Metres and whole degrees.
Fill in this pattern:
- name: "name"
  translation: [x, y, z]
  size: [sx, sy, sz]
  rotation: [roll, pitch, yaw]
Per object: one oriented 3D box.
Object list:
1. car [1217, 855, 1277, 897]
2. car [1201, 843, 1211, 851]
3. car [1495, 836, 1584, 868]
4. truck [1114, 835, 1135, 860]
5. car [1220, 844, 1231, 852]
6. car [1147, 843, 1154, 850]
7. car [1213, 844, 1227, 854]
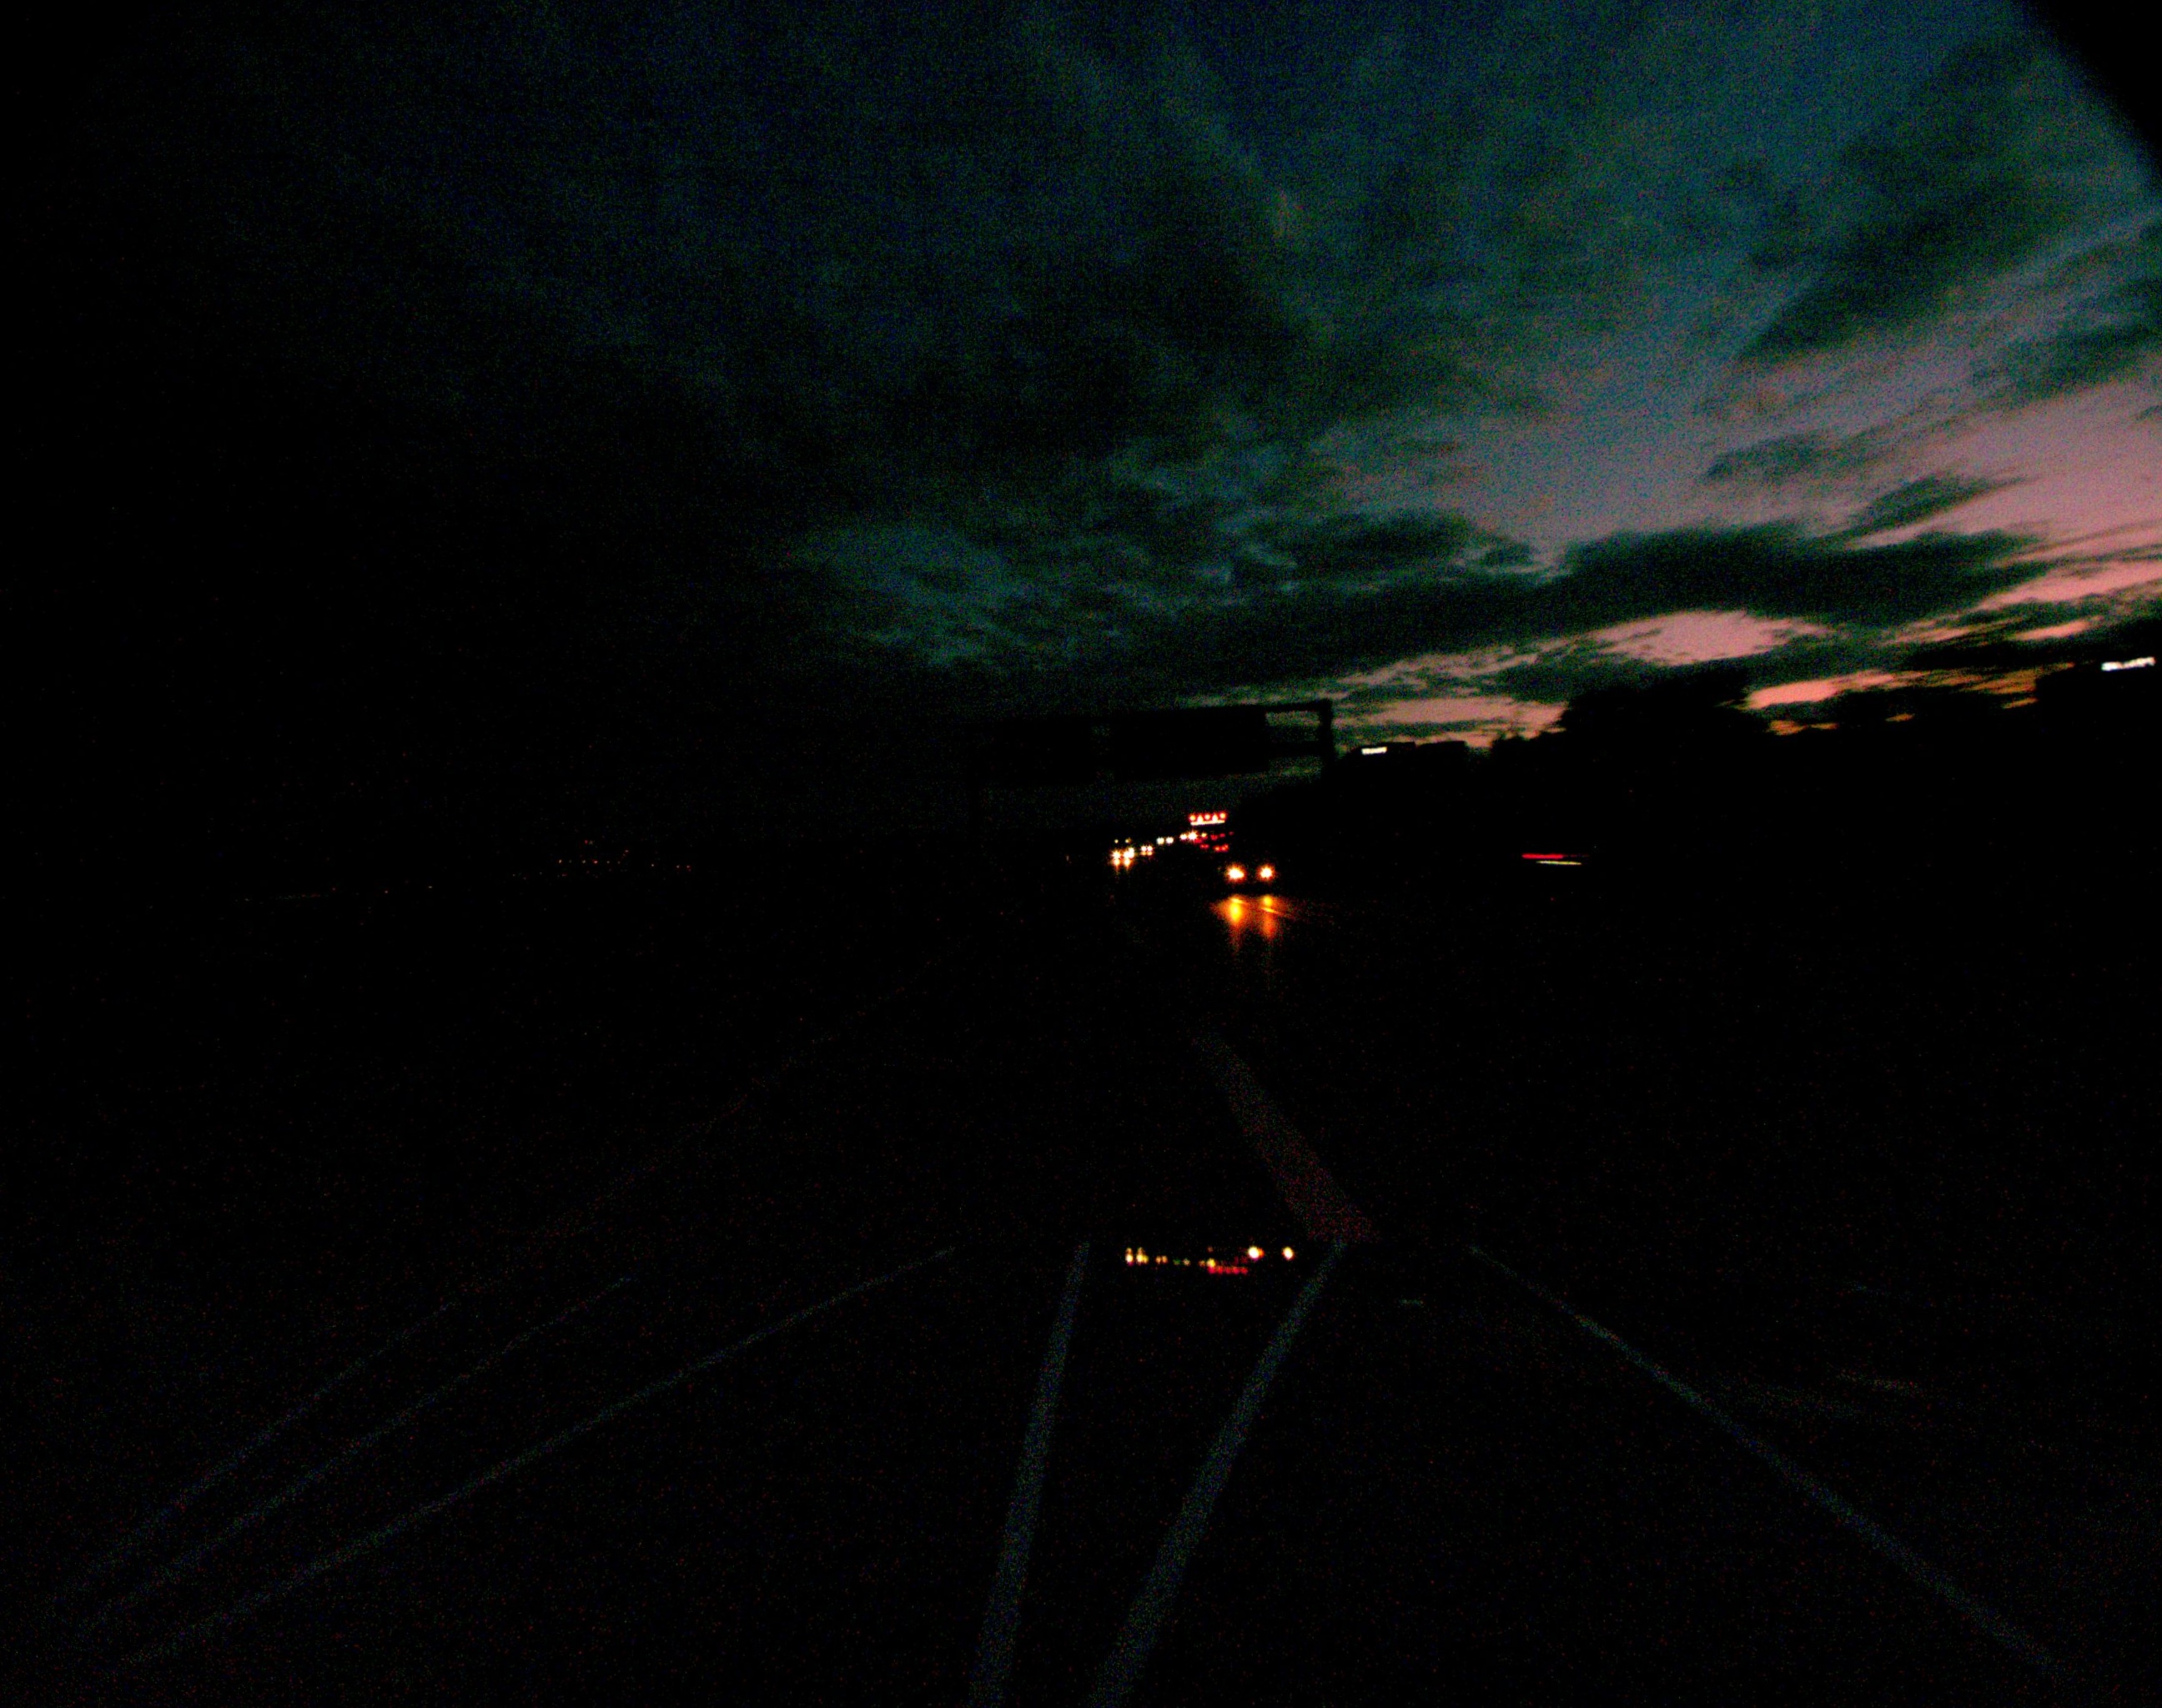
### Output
- name: "car"
  translation: [6.869, 0.864, 31.836]
  size: [1.717, 1.471, 3.999]
  rotation: [-3, 2, 2]
- name: "car"
  translation: [34.171, -1.913, 207.731]
  size: [1.879, 1.883, 5.057]
  rotation: [-2, 2, 3]
- name: "car"
  translation: [22.894, -0.123, 38.173]
  size: [1.998, 1.411, 4.151]
  rotation: [-3, 1, 1]
- name: "truck"
  translation: [8.215, -1.306, 142.770]
  size: [3.025, 4.373, 11.617]
  rotation: [-2, 2, 7]
- name: "car"
  translation: [37.022, -1.559, 194.387]
  size: [1.998, 1.883, 5.057]
  rotation: [-2, 2, 3]
- name: "car"
  translation: [18.366, -1.967, 201.254]
  size: [1.652, 1.655, 3.775]
  rotation: [-2, 2, 5]
- name: "car"
  translation: [29.443, -1.119, 161.142]
  size: [1.998, 1.883, 4.678]
  rotation: [-3, 2, 1]
